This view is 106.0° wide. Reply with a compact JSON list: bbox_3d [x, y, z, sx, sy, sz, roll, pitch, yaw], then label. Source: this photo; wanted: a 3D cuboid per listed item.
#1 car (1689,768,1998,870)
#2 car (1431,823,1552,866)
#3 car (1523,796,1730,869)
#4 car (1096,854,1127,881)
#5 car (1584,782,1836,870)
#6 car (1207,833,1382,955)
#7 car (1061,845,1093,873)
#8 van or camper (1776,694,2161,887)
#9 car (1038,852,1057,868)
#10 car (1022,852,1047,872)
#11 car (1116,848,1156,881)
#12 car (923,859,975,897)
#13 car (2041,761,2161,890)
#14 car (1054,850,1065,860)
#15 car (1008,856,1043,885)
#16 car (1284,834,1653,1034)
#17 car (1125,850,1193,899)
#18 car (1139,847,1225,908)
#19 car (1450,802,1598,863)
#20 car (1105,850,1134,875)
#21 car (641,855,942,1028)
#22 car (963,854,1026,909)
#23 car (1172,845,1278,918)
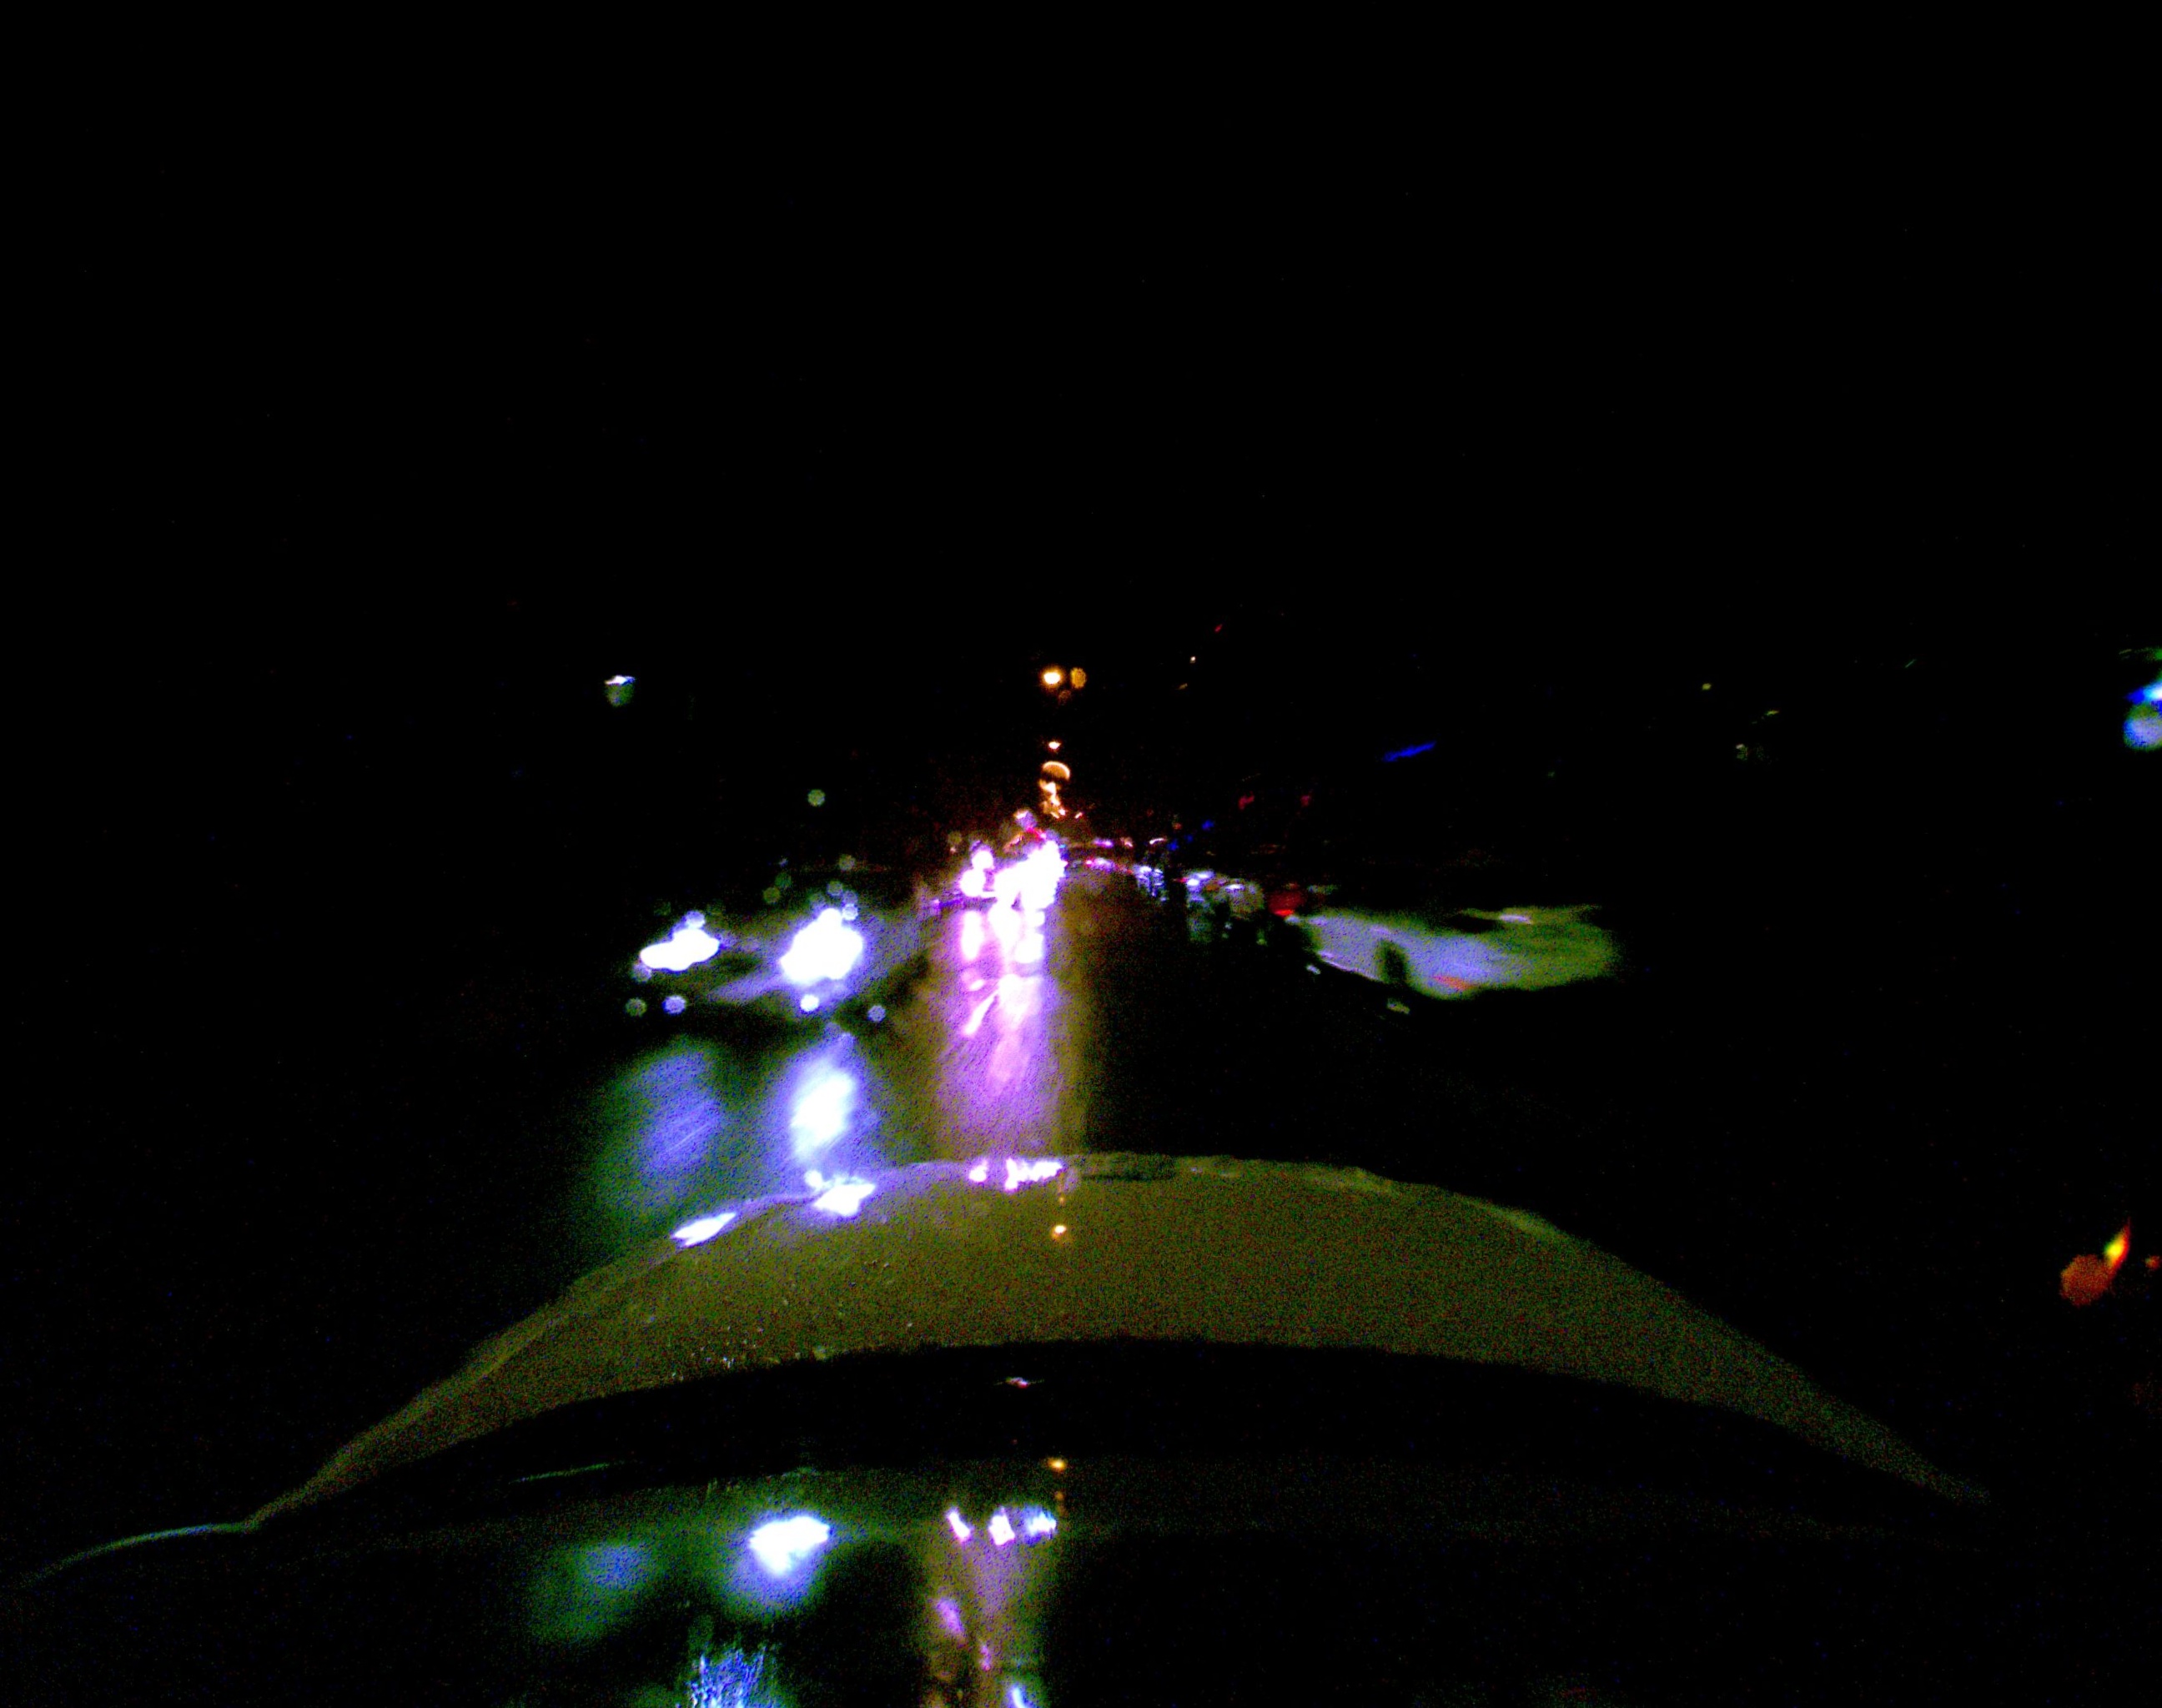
[{"bbox_3d":[14.298,-0.636,15.434,4.206,1.617,1.805,-3,0,-2],"label":"car"},{"bbox_3d":[15.306,-0.353,30.502,3.674,1.400,1.620,-3,0,0],"label":"car"},{"bbox_3d":[13.334,-0.509,20.060,3.976,1.521,1.684,-3,0,-2],"label":"car"},{"bbox_3d":[2.122,0.936,57.955,1.816,1.673,3.997,-4,1,-2],"label":"car"},{"bbox_3d":[13.620,-0.590,17.789,4.206,1.617,1.684,-3,0,-2],"label":"car"},{"bbox_3d":[3.550,0.577,14.365,1.709,1.707,4.183,-5,1,-2],"label":"car"},{"bbox_3d":[-0.275,0.300,55.903,1.987,1.683,4.000,-2,2,0],"label":"car"},{"bbox_3d":[14.205,-0.931,12.514,5.042,2.527,2.173,-3,0,2],"label":"van or camper"},{"bbox_3d":[-3.376,0.607,82.284,1.816,1.463,4.861,-2,0,-2],"label":"car"},{"bbox_3d":[-3.617,0.604,63.954,1.853,1.461,4.519,-2,0,-3],"label":"car"},{"bbox_3d":[2.762,0.504,41.821,1.624,1.466,4.508,-4,0,-1],"label":"car"},{"bbox_3d":[-5.995,1.048,37.545,1.573,1.457,4.643,-3,0,0],"label":"car"},{"bbox_3d":[13.021,-0.357,8.683,1.557,1.469,3.409,-3,0,1],"label":"car"},{"bbox_3d":[-3.999,0.159,152.245,1.807,1.709,3.801,-4,0,-2],"label":"car"},{"bbox_3d":[-3.043,0.885,45.299,1.671,1.434,4.508,-4,-1,-2],"label":"car"},{"bbox_3d":[3.645,0.641,8.706,1.708,1.488,4.434,-3,0,-1],"label":"car"},{"bbox_3d":[2.919,0.718,31.261,1.876,1.572,4.584,-5,1,-2],"label":"car"},{"bbox_3d":[3.082,0.664,25.788,1.876,1.572,4.524,-5,1,-2],"label":"car"},{"bbox_3d":[15.011,-0.712,27.732,4.052,1.789,1.749,-3,0,0],"label":"car"},{"bbox_3d":[2.410,0.526,51.703,1.492,1.388,3.745,-4,1,-2],"label":"car"},{"bbox_3d":[-2.908,0.760,9.363,1.790,1.461,4.578,0,0,0],"label":"car"},{"bbox_3d":[-2.573,0.787,24.720,1.542,1.499,2.793,-1,0,0],"label":"car"},{"bbox_3d":[3.497,0.608,20.564,1.749,1.528,4.151,-5,1,-2],"label":"car"}]
